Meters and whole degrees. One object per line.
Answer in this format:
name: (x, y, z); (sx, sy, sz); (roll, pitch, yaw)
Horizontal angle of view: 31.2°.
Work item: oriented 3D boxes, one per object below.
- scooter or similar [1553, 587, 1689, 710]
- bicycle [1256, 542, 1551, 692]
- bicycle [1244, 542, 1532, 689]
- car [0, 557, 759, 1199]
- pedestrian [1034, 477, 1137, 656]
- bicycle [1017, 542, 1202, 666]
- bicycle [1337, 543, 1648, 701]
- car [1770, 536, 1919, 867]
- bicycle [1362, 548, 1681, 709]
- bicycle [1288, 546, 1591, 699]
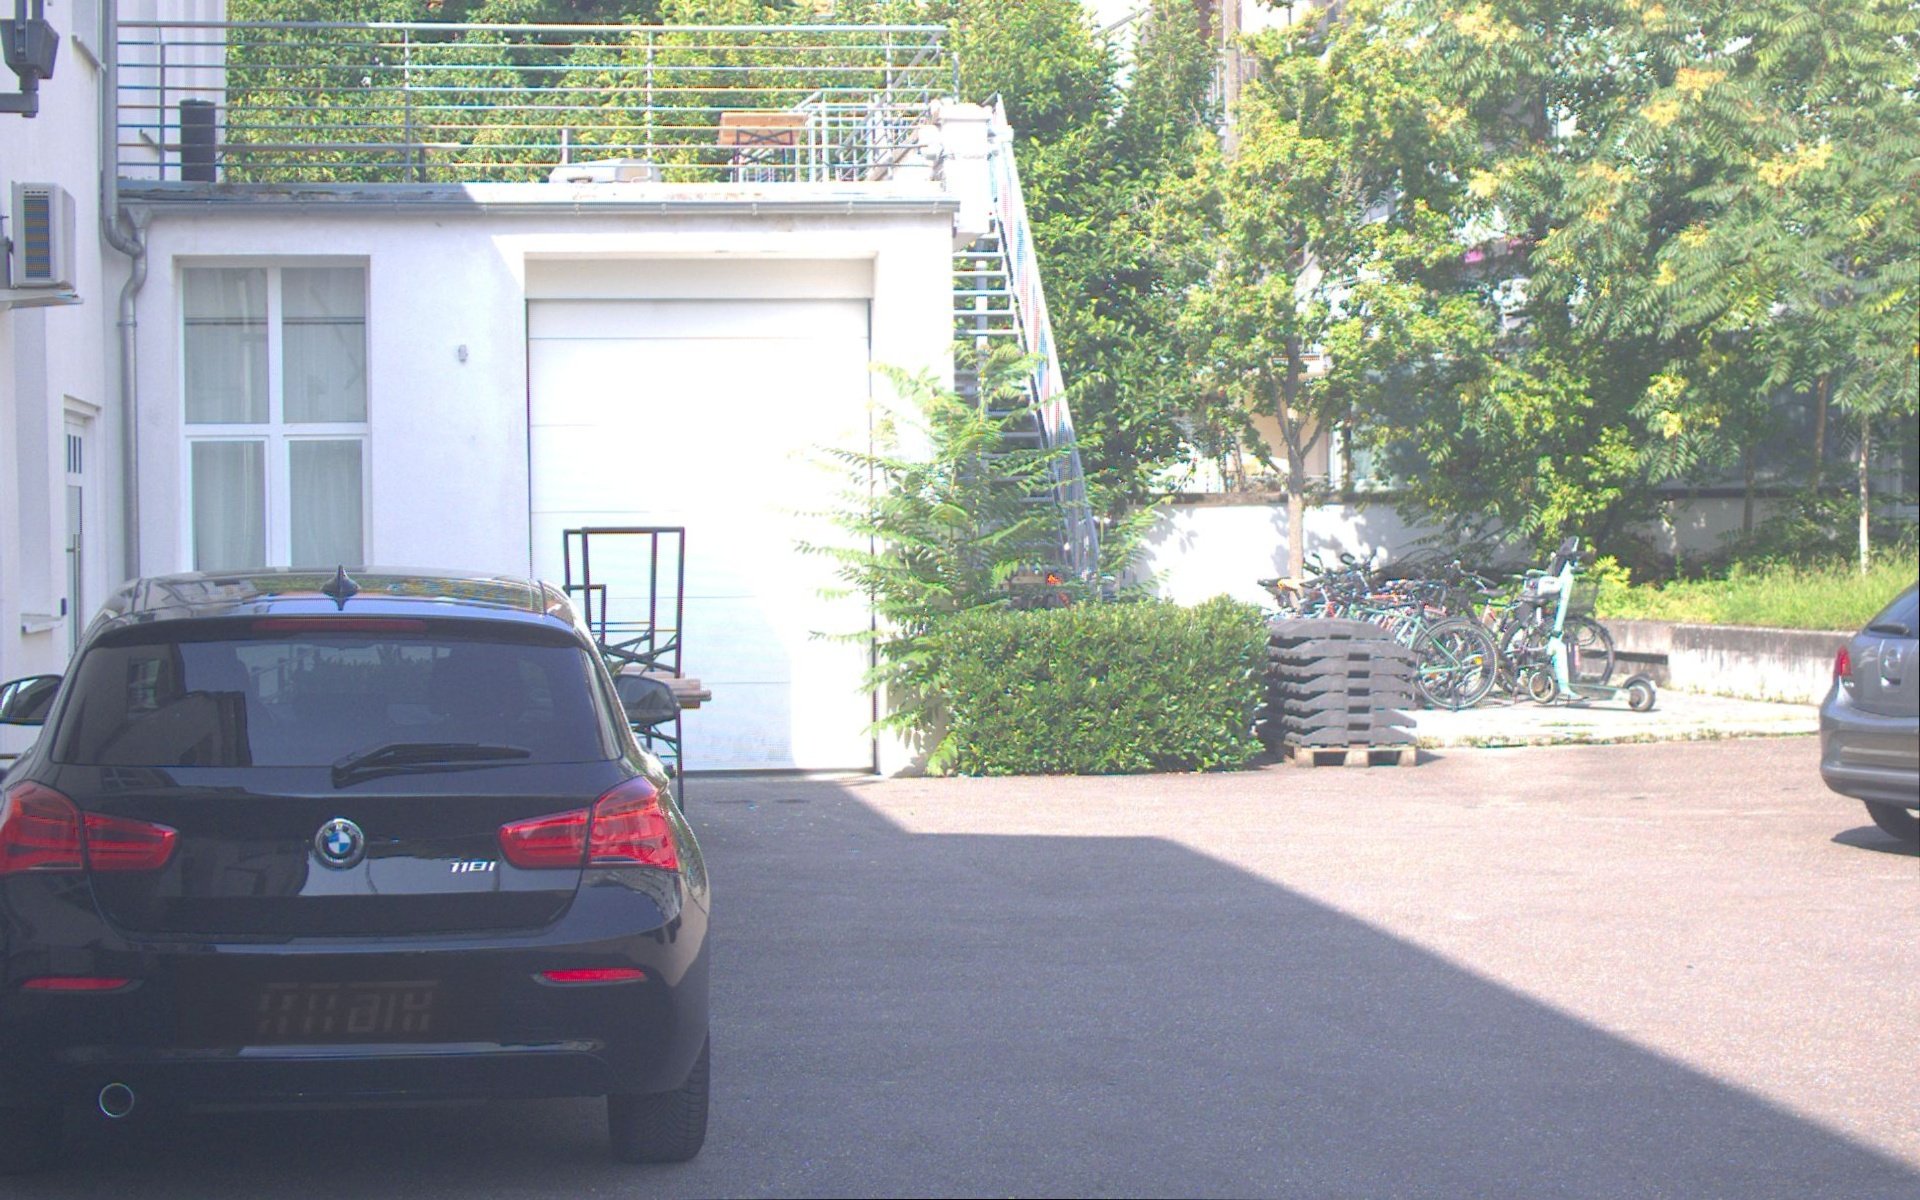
scooter or similar: (5.110, 0.366, 26.586); (0.999, 0.921, 0.359); (1, 2, 45)
bicycle: (3.741, 0.136, 29.028); (2.410, 1.242, 0.526); (0, 1, -8)
bicycle: (3.688, 0.126, 29.663); (2.410, 1.242, 0.526); (0, 1, -7)
car: (-1.694, 0.616, 9.414); (1.792, 1.423, 4.137); (0, 1, -10)
pedestrian: (1.252, -0.343, 34.325); (0.609, 1.765, 0.861); (-1, 1, -39)
bicycle: (1.499, 0.026, 34.251); (1.988, 1.140, 0.490); (-3, 3, -38)
bicycle: (4.271, 0.170, 27.593); (2.410, 1.242, 0.526); (0, 1, -7)
car: (5.997, 0.410, 16.352); (3.895, 1.461, 1.663); (-2, 2, -21)
bicycle: (4.397, 0.215, 26.958); (2.410, 1.242, 0.526); (0, 1, -7)
bicycle: (3.948, 0.180, 28.329); (2.410, 1.242, 0.526); (0, 1, -7)
